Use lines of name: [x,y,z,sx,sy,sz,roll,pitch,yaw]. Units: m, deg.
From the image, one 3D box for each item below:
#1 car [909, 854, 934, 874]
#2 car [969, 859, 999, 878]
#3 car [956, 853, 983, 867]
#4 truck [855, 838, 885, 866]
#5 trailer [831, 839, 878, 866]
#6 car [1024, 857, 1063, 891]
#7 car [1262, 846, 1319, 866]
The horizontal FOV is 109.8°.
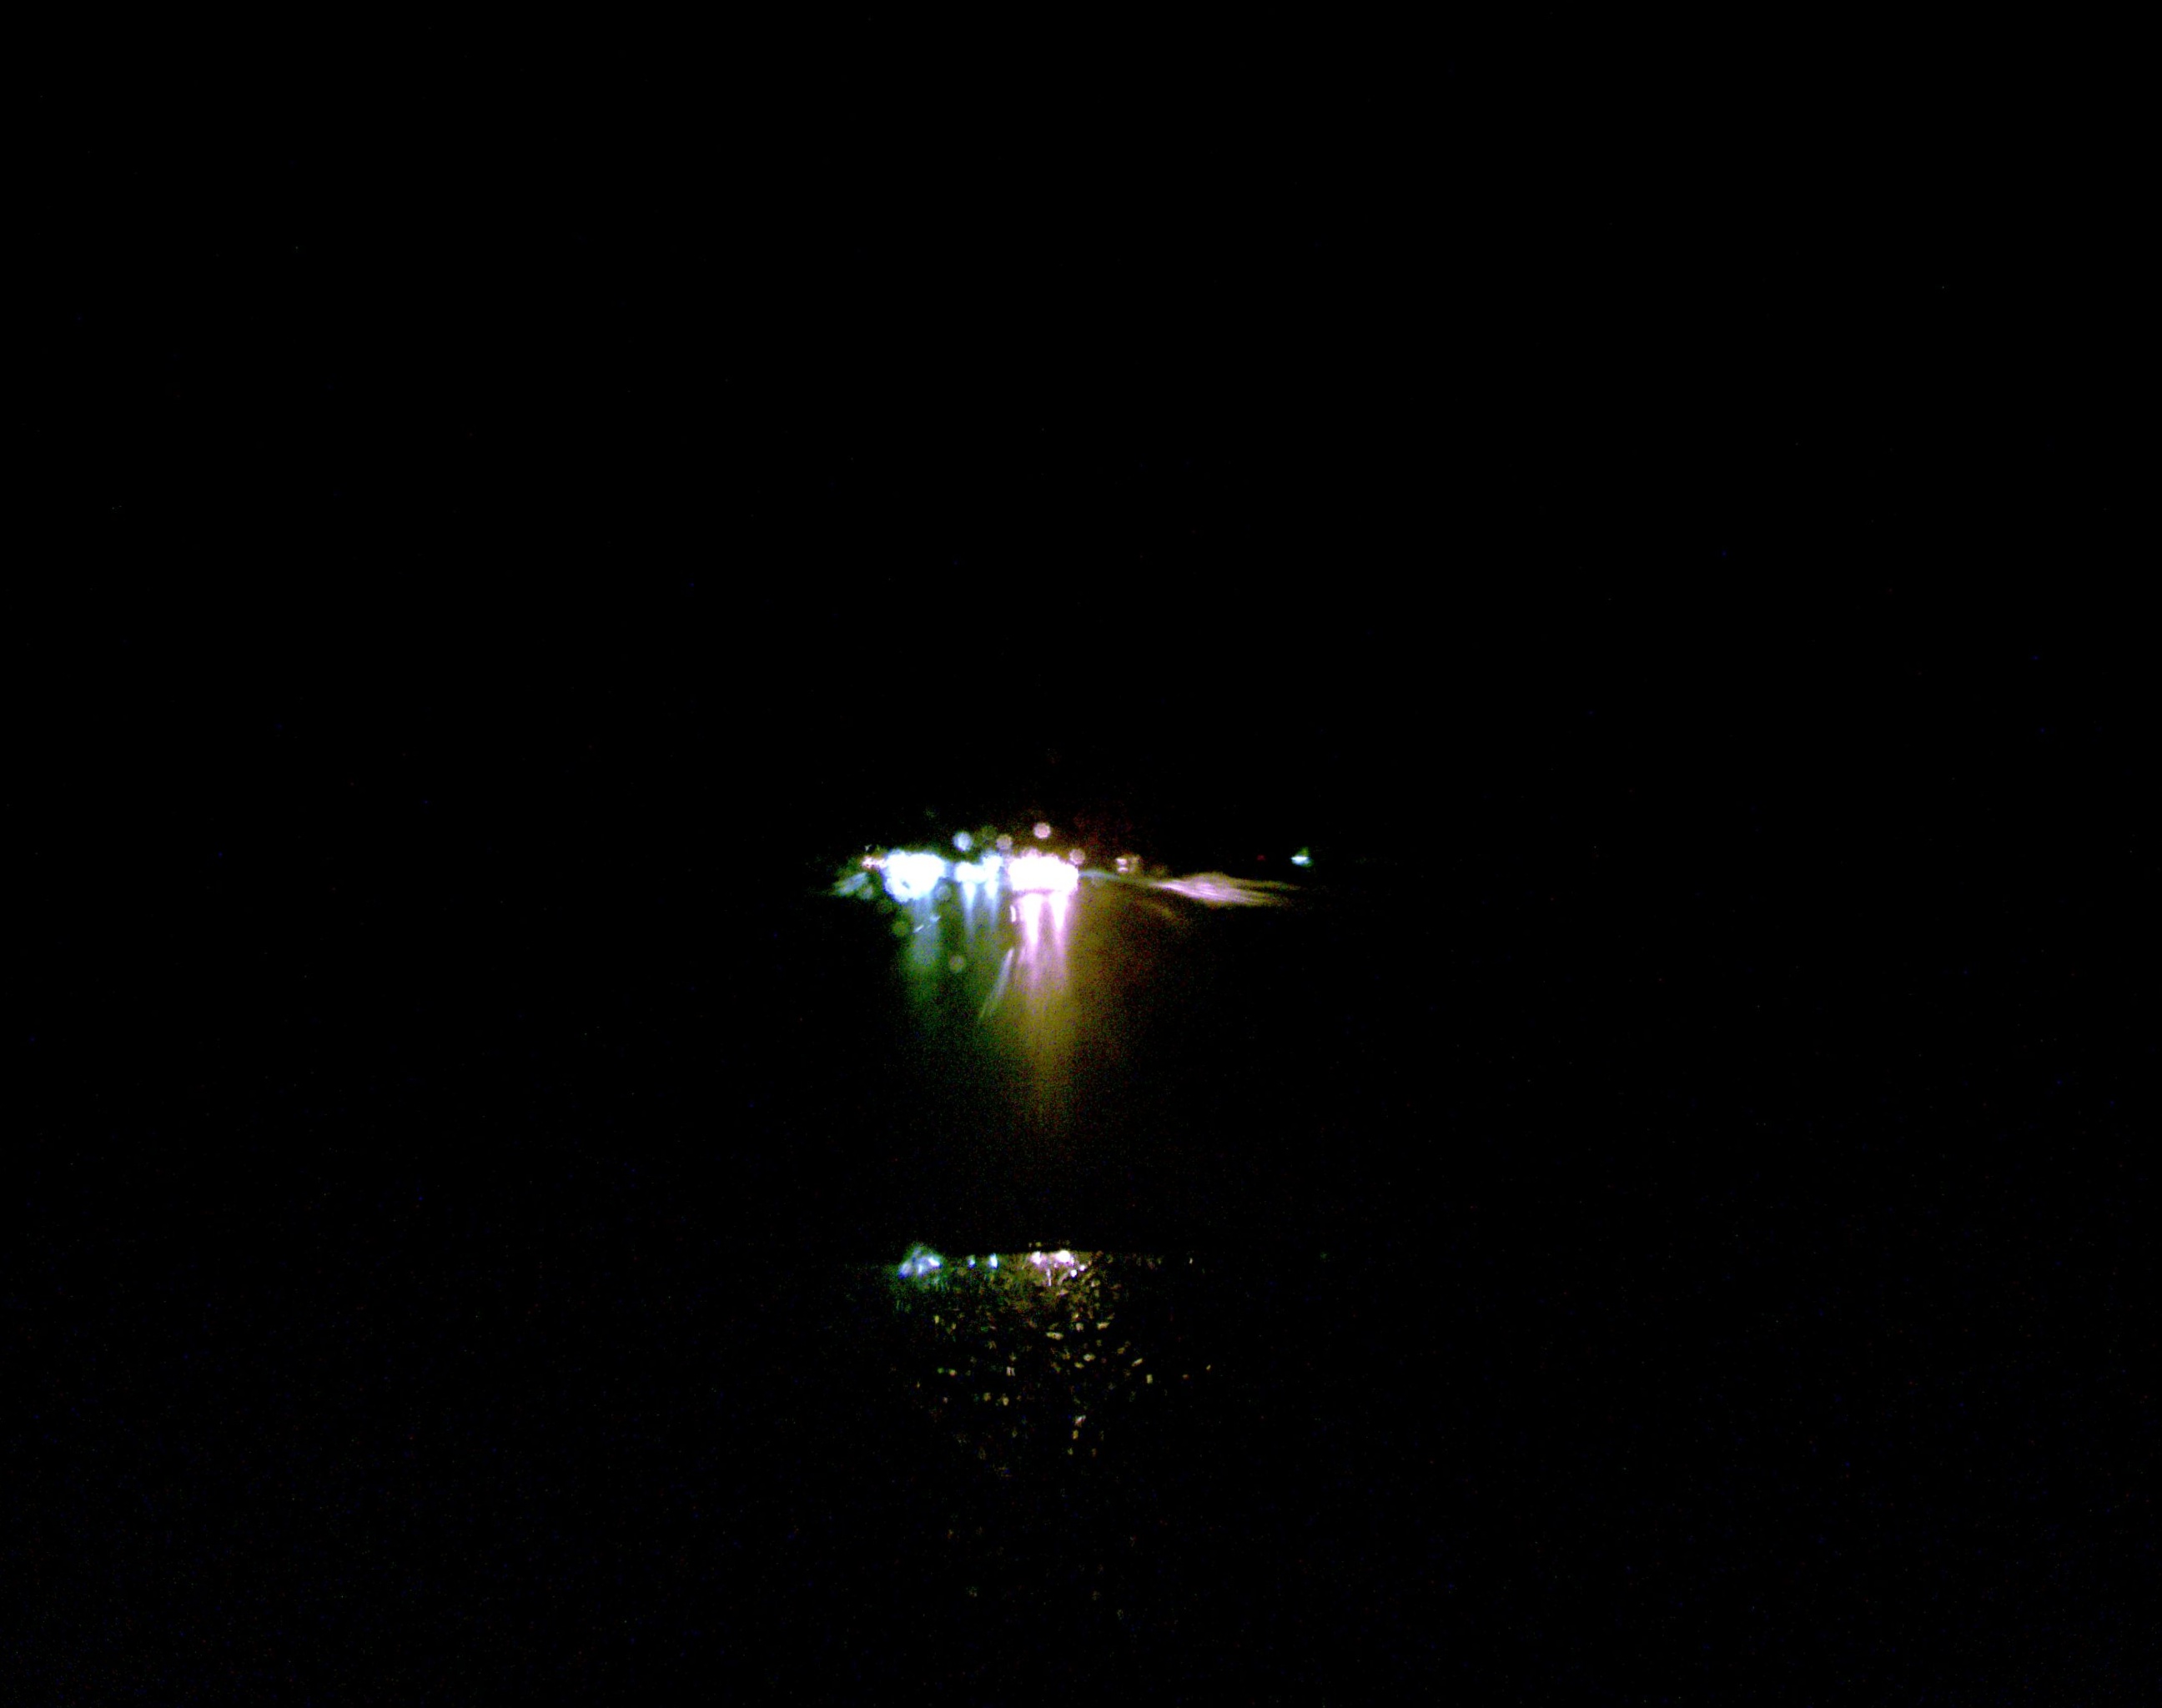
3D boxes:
car: [-14.558,0.891,69.358,1.743,1.674,4.114,-4,0,-17]
car: [-7.299,1.044,56.915,1.762,1.304,4.081,-1,0,-13]
car: [-15.284,0.822,104.151,1.793,1.641,4.043,-3,0,-38]
truck: [-34.380,-0.296,123.745,2.544,4.312,5.549,-3,1,-38]
trailer: [-38.653,-0.172,129.120,2.544,4.312,13.673,-3,1,-38]
car: [-1.858,0.926,36.297,1.687,1.442,3.640,-3,0,-5]
car: [17.106,0.133,62.195,1.893,1.532,4.099,-3,1,-37]
